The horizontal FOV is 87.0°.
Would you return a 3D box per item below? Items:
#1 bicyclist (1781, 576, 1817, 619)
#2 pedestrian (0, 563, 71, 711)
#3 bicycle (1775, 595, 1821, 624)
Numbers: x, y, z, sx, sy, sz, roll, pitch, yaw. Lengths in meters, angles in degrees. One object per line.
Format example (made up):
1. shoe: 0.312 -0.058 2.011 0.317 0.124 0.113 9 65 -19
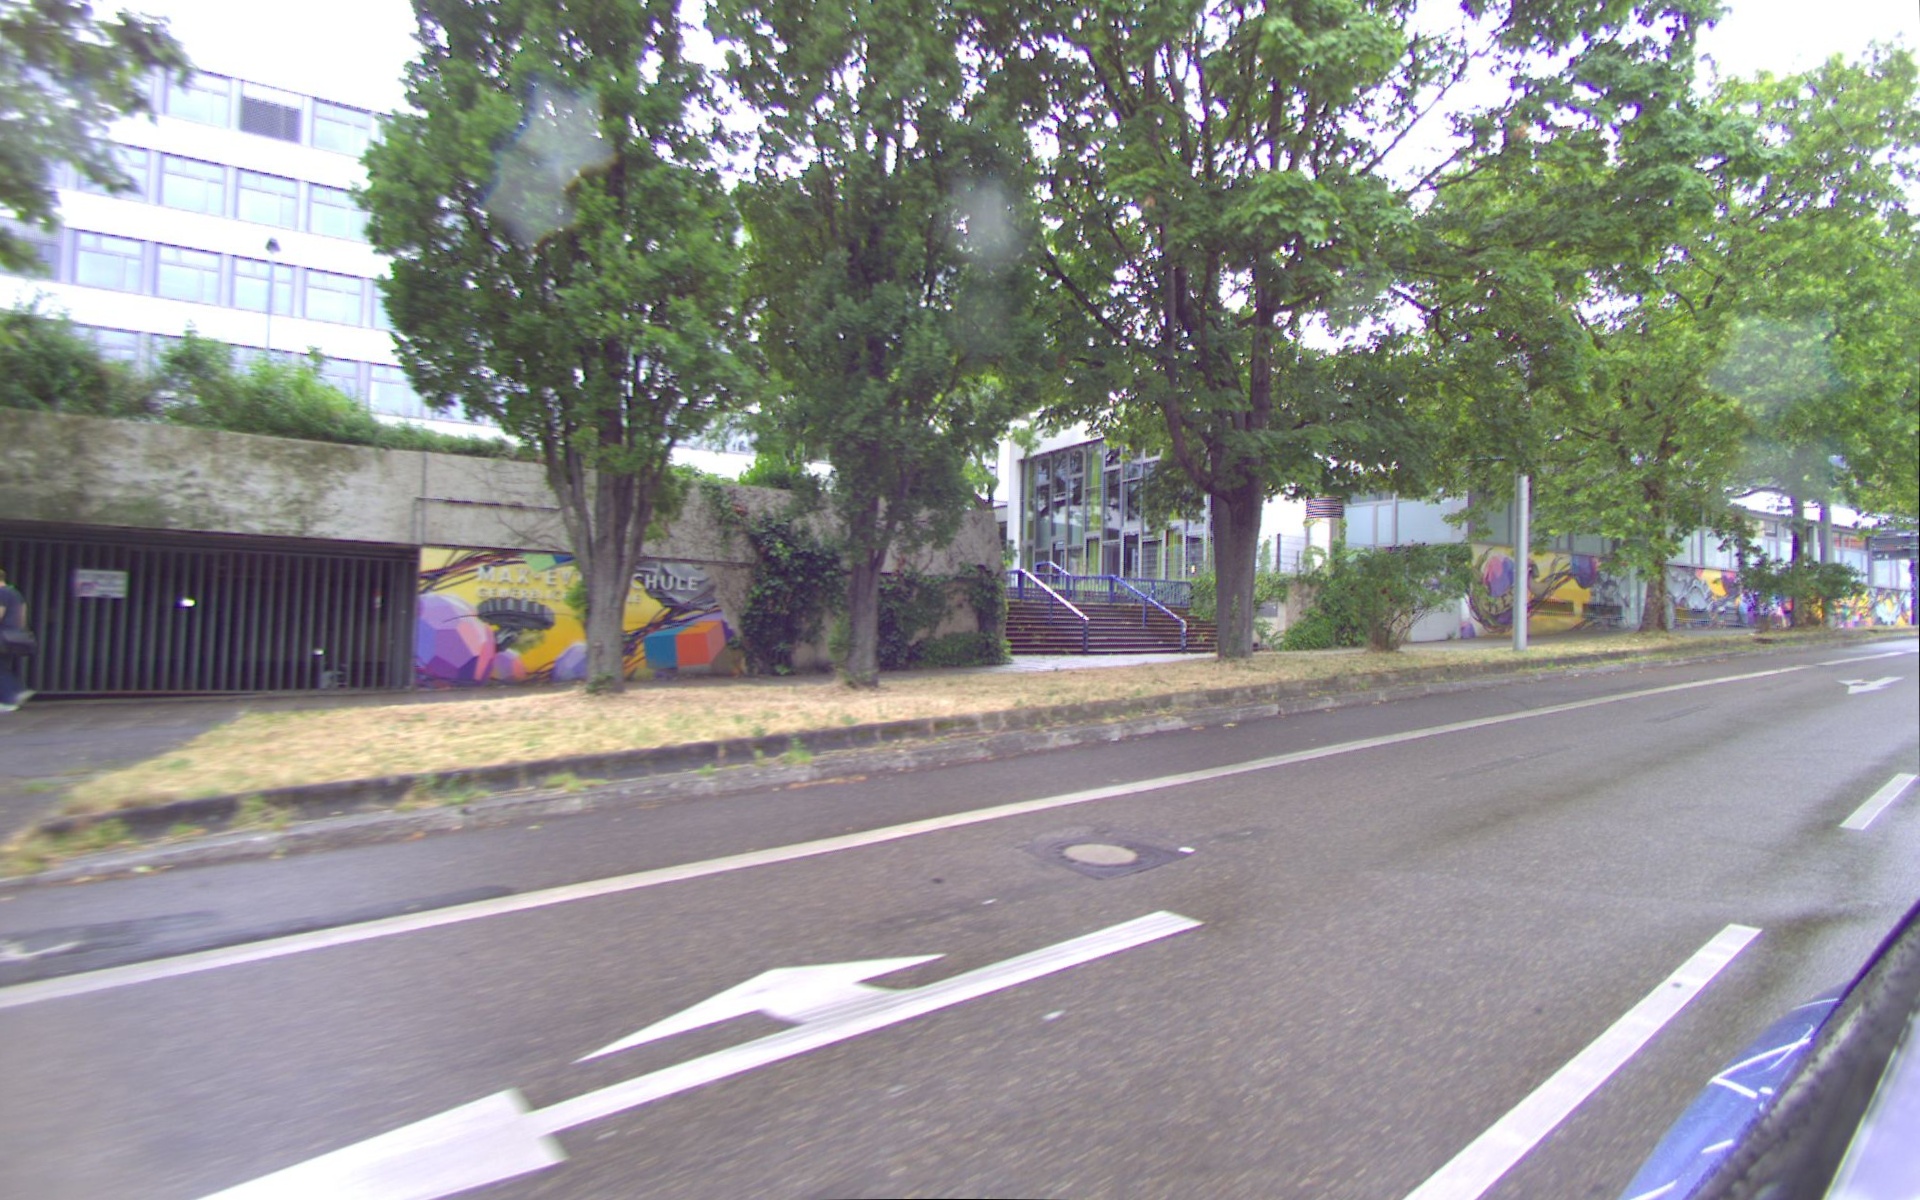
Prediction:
1. bicyclist: 32.932 -0.089 39.734 1.026 1.648 0.809 0 0 -33
2. pedestrian: -12.473 0.469 13.314 1.035 1.888 0.810 0 0 -31
3. bicycle: 32.865 0.364 39.679 2.156 1.126 0.809 0 0 -34
